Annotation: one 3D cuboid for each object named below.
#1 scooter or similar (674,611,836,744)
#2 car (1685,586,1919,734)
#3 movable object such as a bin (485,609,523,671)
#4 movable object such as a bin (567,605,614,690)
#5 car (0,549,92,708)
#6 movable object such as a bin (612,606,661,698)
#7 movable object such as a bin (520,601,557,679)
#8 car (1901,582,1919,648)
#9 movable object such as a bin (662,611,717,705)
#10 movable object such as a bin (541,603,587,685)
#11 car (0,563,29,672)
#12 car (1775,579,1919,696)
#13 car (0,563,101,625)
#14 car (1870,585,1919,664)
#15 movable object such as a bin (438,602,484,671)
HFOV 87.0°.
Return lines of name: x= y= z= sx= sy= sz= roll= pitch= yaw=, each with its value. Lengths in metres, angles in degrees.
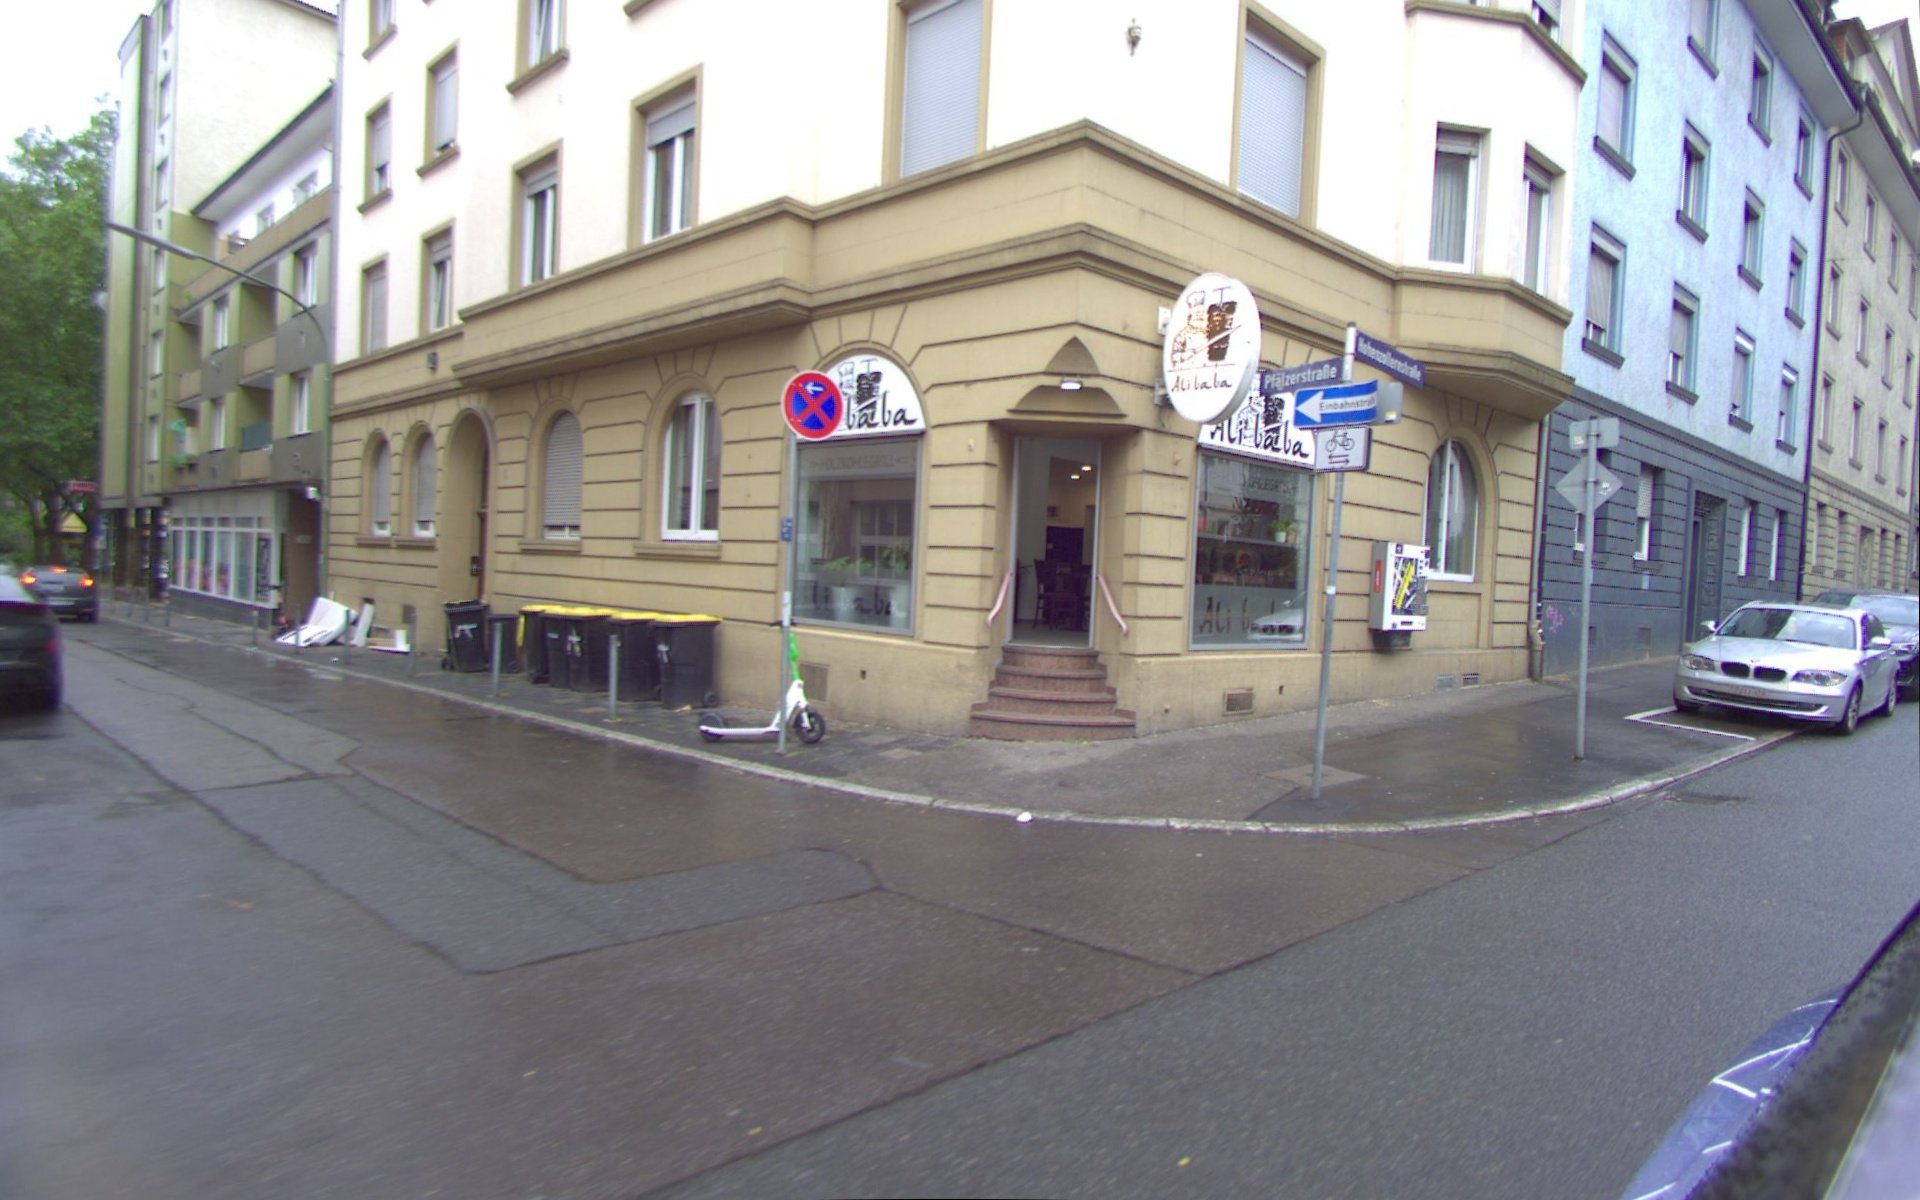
scooter or similar: x=-1.886 y=0.711 z=9.376 sx=1.354 sy=1.142 sz=0.466 roll=-1 pitch=4 yaw=9
car: x=10.720 y=0.615 z=12.715 sx=4.016 sy=1.481 sz=1.574 roll=-1 pitch=4 yaw=-39
movable object such as a bin: x=-6.876 y=0.600 z=15.254 sx=0.336 sy=0.902 sz=0.417 roll=-1 pitch=0 yaw=45
movable object such as a bin: x=-4.808 y=0.606 z=13.161 sx=0.347 sy=1.058 sz=0.454 roll=2 pitch=3 yaw=41
car: x=-11.187 y=0.248 z=11.038 sx=3.982 sy=1.571 sz=2.018 roll=2 pitch=2 yaw=40
movable object such as a bin: x=-3.932 y=0.627 z=12.311 sx=0.347 sy=1.079 sz=0.436 roll=-1 pitch=0 yaw=40
movable object such as a bin: x=-5.881 y=0.552 z=14.114 sx=0.332 sy=1.058 sz=0.386 roll=-1 pitch=0 yaw=-45
car: x=23.216 y=0.388 z=23.276 sx=3.903 sy=1.446 sz=1.734 roll=-1 pitch=5 yaw=-40
movable object such as a bin: x=-3.119 y=0.655 z=11.668 sx=0.515 sy=1.059 sz=0.343 roll=0 pitch=-1 yaw=-39
movable object such as a bin: x=-5.308 y=0.582 z=13.561 sx=0.348 sy=1.058 sz=0.453 roll=-1 pitch=0 yaw=45
car: x=-15.139 y=0.209 z=14.853 sx=3.982 sy=1.510 sz=1.712 roll=2 pitch=2 yaw=41
car: x=14.907 y=0.508 z=16.342 sx=4.216 sy=1.576 sz=1.823 roll=-1 pitch=4 yaw=-39
car: x=-25.104 y=-0.222 z=27.793 sx=3.982 sy=1.591 sz=1.712 roll=2 pitch=2 yaw=41
car: x=19.629 y=0.479 z=20.228 sx=3.531 sy=1.446 sz=1.587 roll=-1 pitch=5 yaw=-40
movable object such as a bin: x=-7.512 y=0.538 z=15.229 sx=0.495 sy=1.008 sz=0.447 roll=-2 pitch=0 yaw=-42
